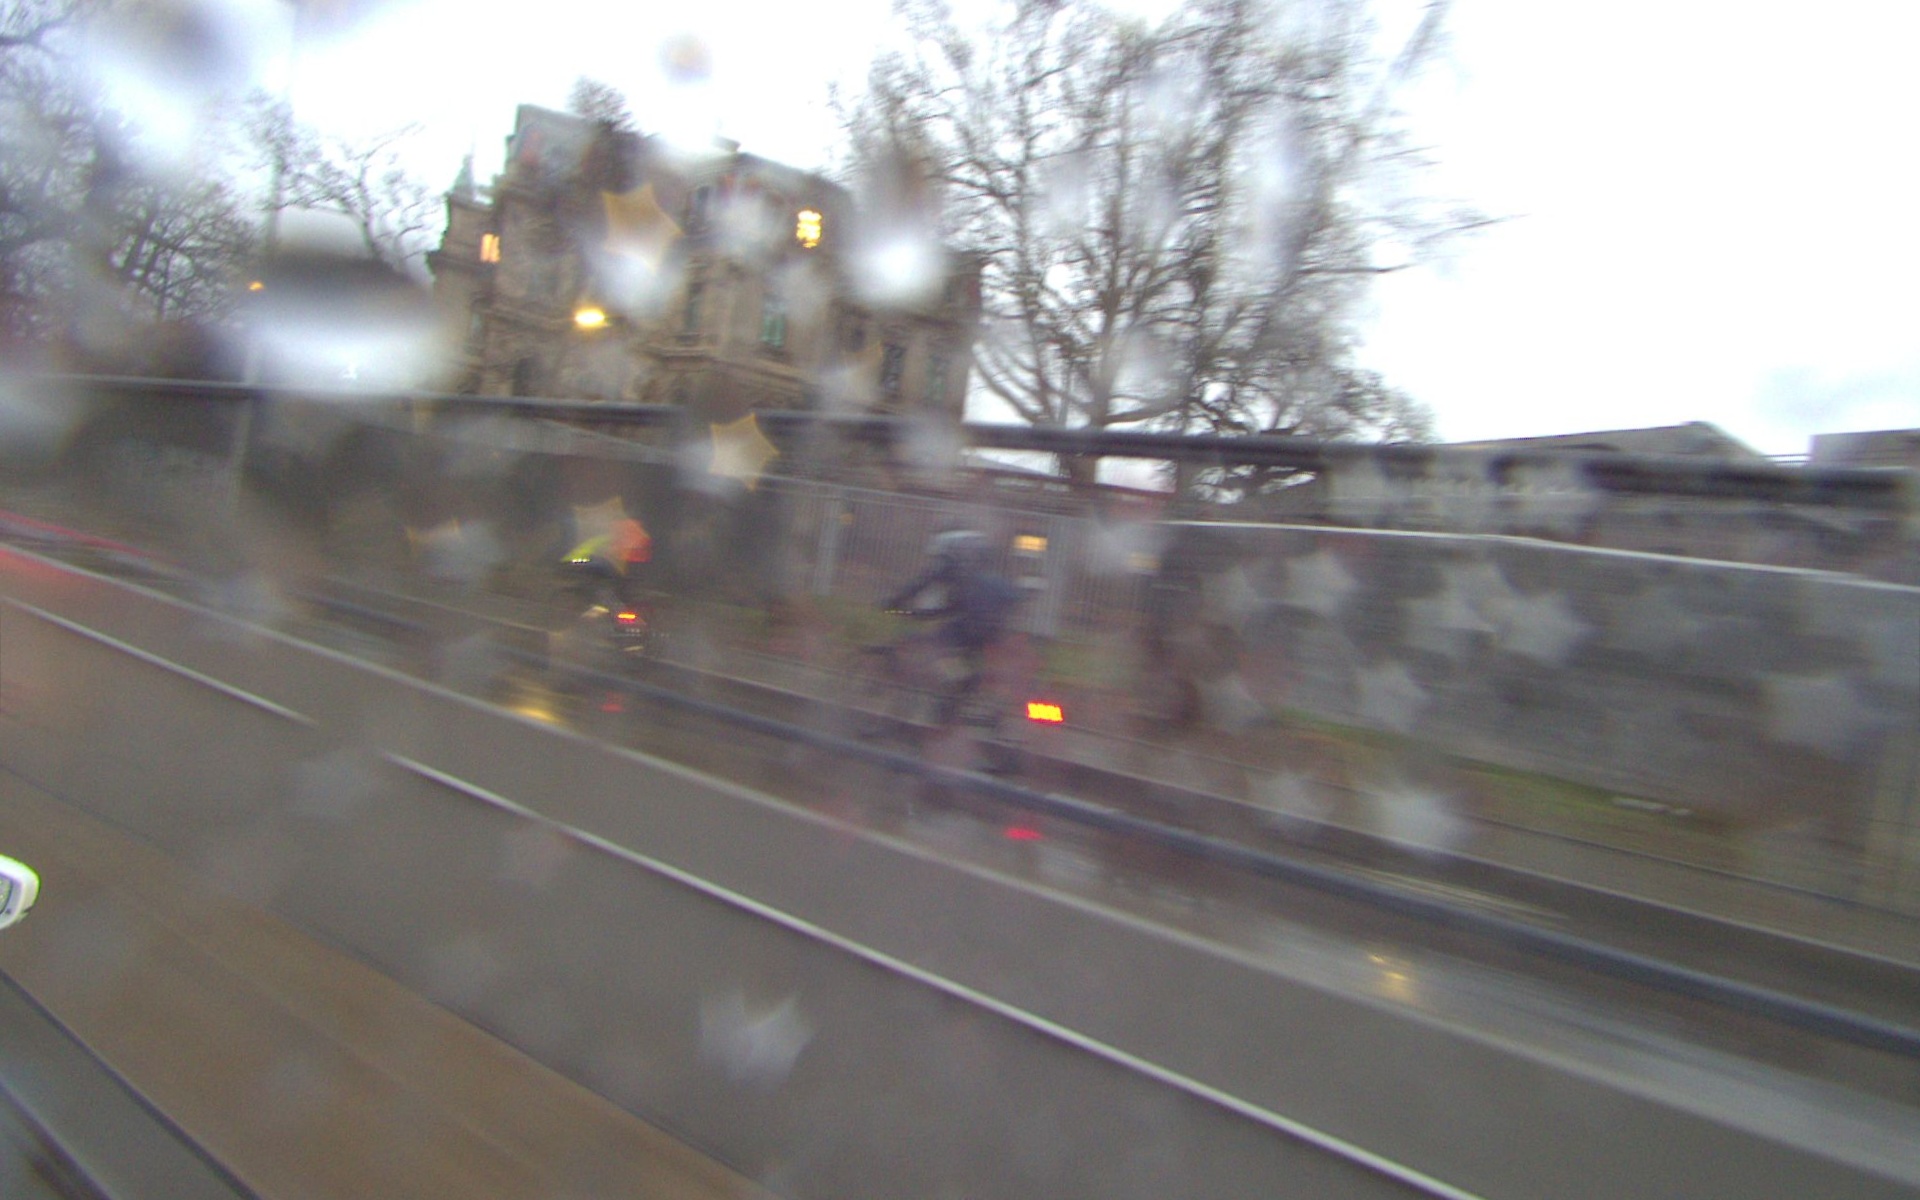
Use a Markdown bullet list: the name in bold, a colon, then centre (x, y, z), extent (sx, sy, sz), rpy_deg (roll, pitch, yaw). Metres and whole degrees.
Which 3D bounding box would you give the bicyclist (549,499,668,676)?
- **bicyclist**: centre (-3.460, -0.119, 9.894), extent (0.823, 1.611, 0.500), rpy_deg (9, 2, 31)

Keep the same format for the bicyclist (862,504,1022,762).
- **bicyclist**: centre (-0.137, 0.237, 7.579), extent (0.823, 1.789, 0.500), rpy_deg (9, 2, 31)

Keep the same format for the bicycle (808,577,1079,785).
- **bicycle**: centre (-0.175, 0.564, 7.635), extent (1.995, 1.200, 0.412), rpy_deg (9, 2, 31)

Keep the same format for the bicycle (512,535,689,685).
- **bicycle**: centre (-3.596, 0.076, 9.985), extent (1.915, 1.200, 0.412), rpy_deg (9, 2, 31)
